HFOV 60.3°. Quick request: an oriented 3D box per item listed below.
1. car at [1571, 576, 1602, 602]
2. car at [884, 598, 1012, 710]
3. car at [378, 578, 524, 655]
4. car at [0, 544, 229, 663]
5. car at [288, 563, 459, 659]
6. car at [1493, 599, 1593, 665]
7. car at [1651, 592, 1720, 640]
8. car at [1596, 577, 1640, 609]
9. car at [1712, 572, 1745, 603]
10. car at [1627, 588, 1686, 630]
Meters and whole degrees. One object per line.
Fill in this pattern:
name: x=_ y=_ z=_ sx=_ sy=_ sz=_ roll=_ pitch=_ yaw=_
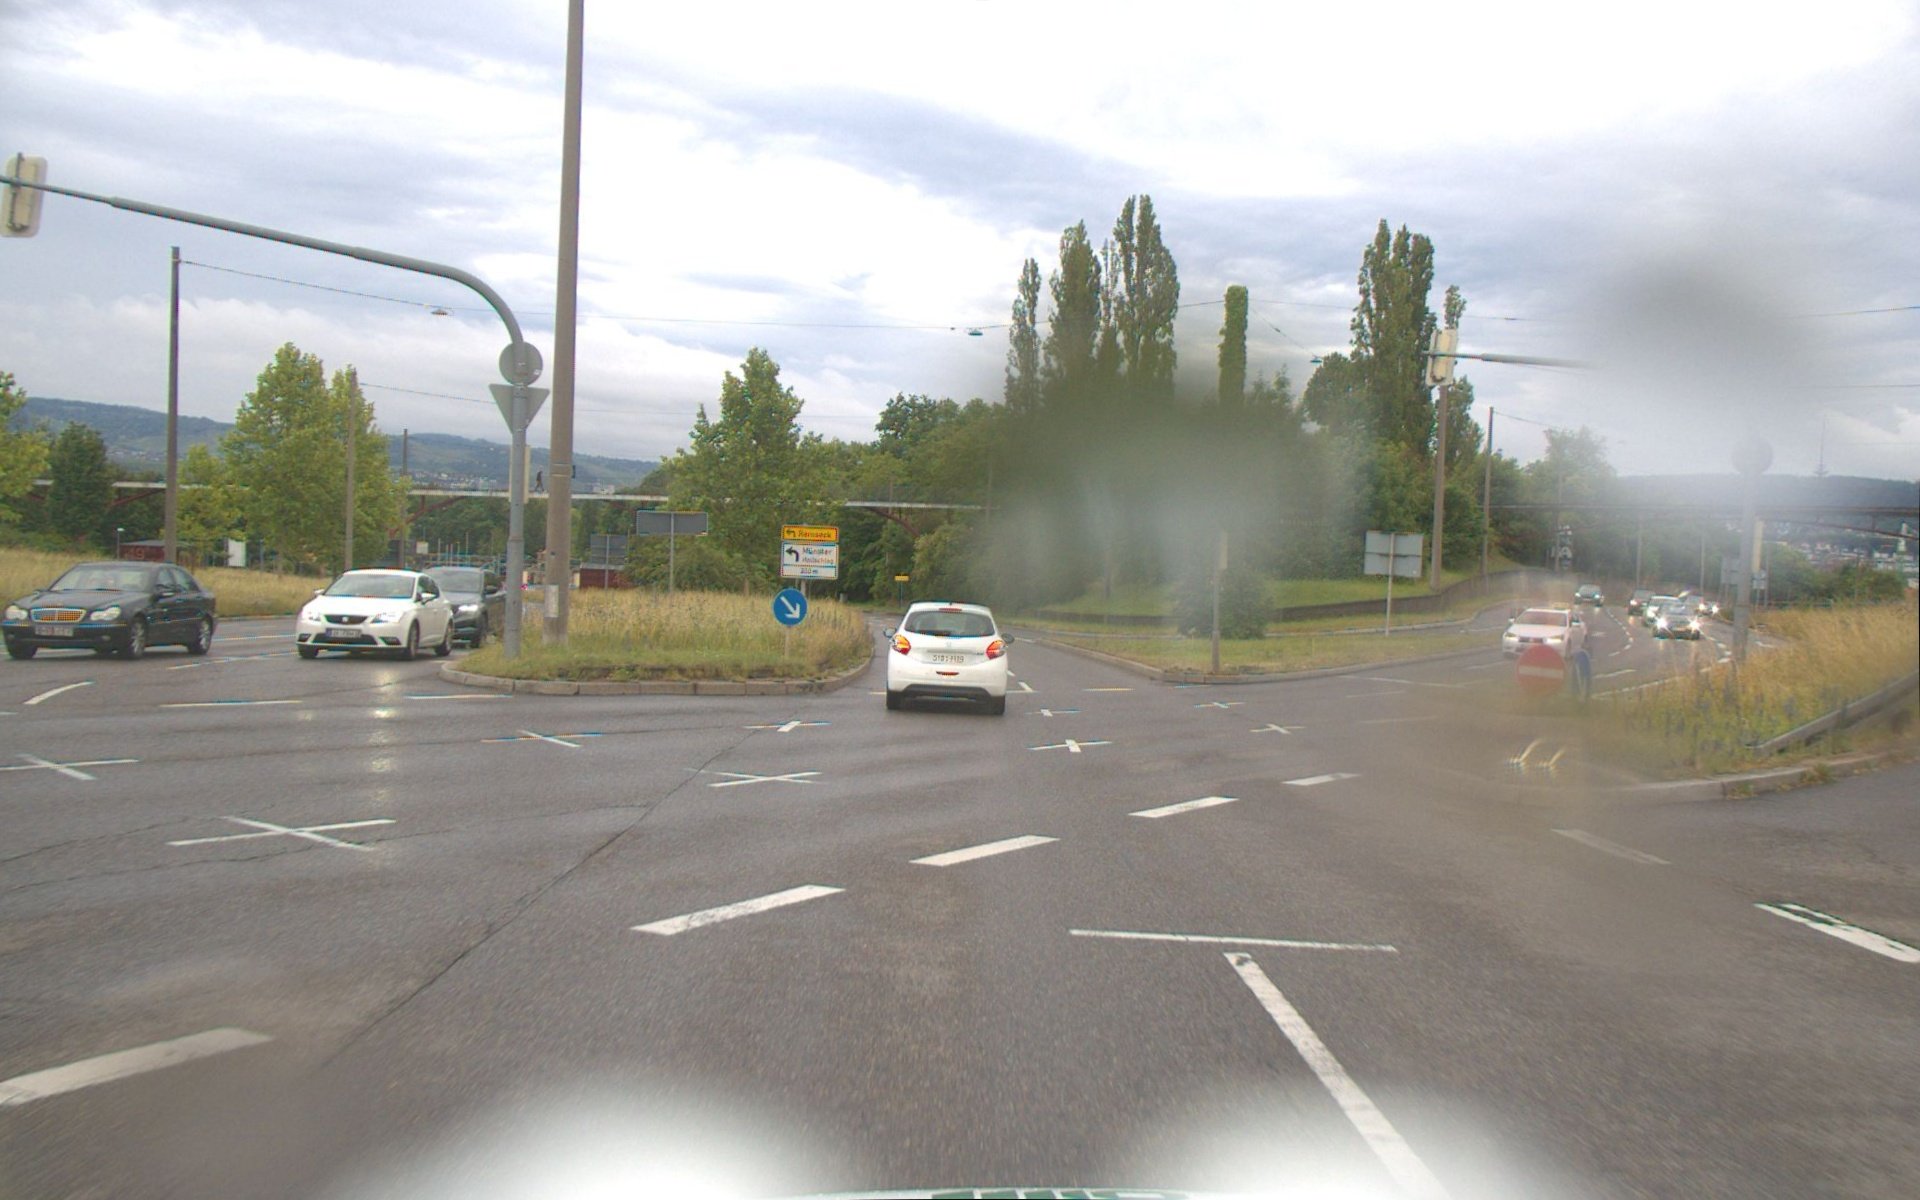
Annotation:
car: x=45.929 y=-0.822 z=121.197 sx=1.841 sy=1.682 sz=4.124 roll=4 pitch=3 yaw=24
car: x=-0.182 y=0.747 z=23.855 sx=1.674 sy=1.465 sz=3.689 roll=1 pitch=-1 yaw=-1
car: x=-10.354 y=0.297 z=33.936 sx=1.857 sy=1.347 sz=3.999 roll=3 pitch=1 yaw=-3
car: x=-12.568 y=0.083 z=24.575 sx=1.858 sy=1.564 sz=3.995 roll=2 pitch=-1 yaw=-5
car: x=-9.558 y=0.200 z=27.259 sx=1.704 sy=1.397 sz=3.995 roll=2 pitch=-1 yaw=-6
car: x=17.228 y=0.902 z=48.749 sx=1.958 sy=1.645 sz=3.992 roll=5 pitch=4 yaw=31
car: x=29.693 y=0.620 z=67.649 sx=1.958 sy=1.645 sz=4.362 roll=5 pitch=4 yaw=31
car: x=39.837 y=-0.457 z=100.243 sx=1.952 sy=1.645 sz=4.376 roll=4 pitch=3 yaw=16
car: x=58.309 y=-0.992 z=125.557 sx=2.033 sy=2.119 sz=4.371 roll=4 pitch=3 yaw=24
car: x=32.912 y=0.413 z=78.237 sx=1.952 sy=1.645 sz=4.376 roll=4 pitch=3 yaw=16
